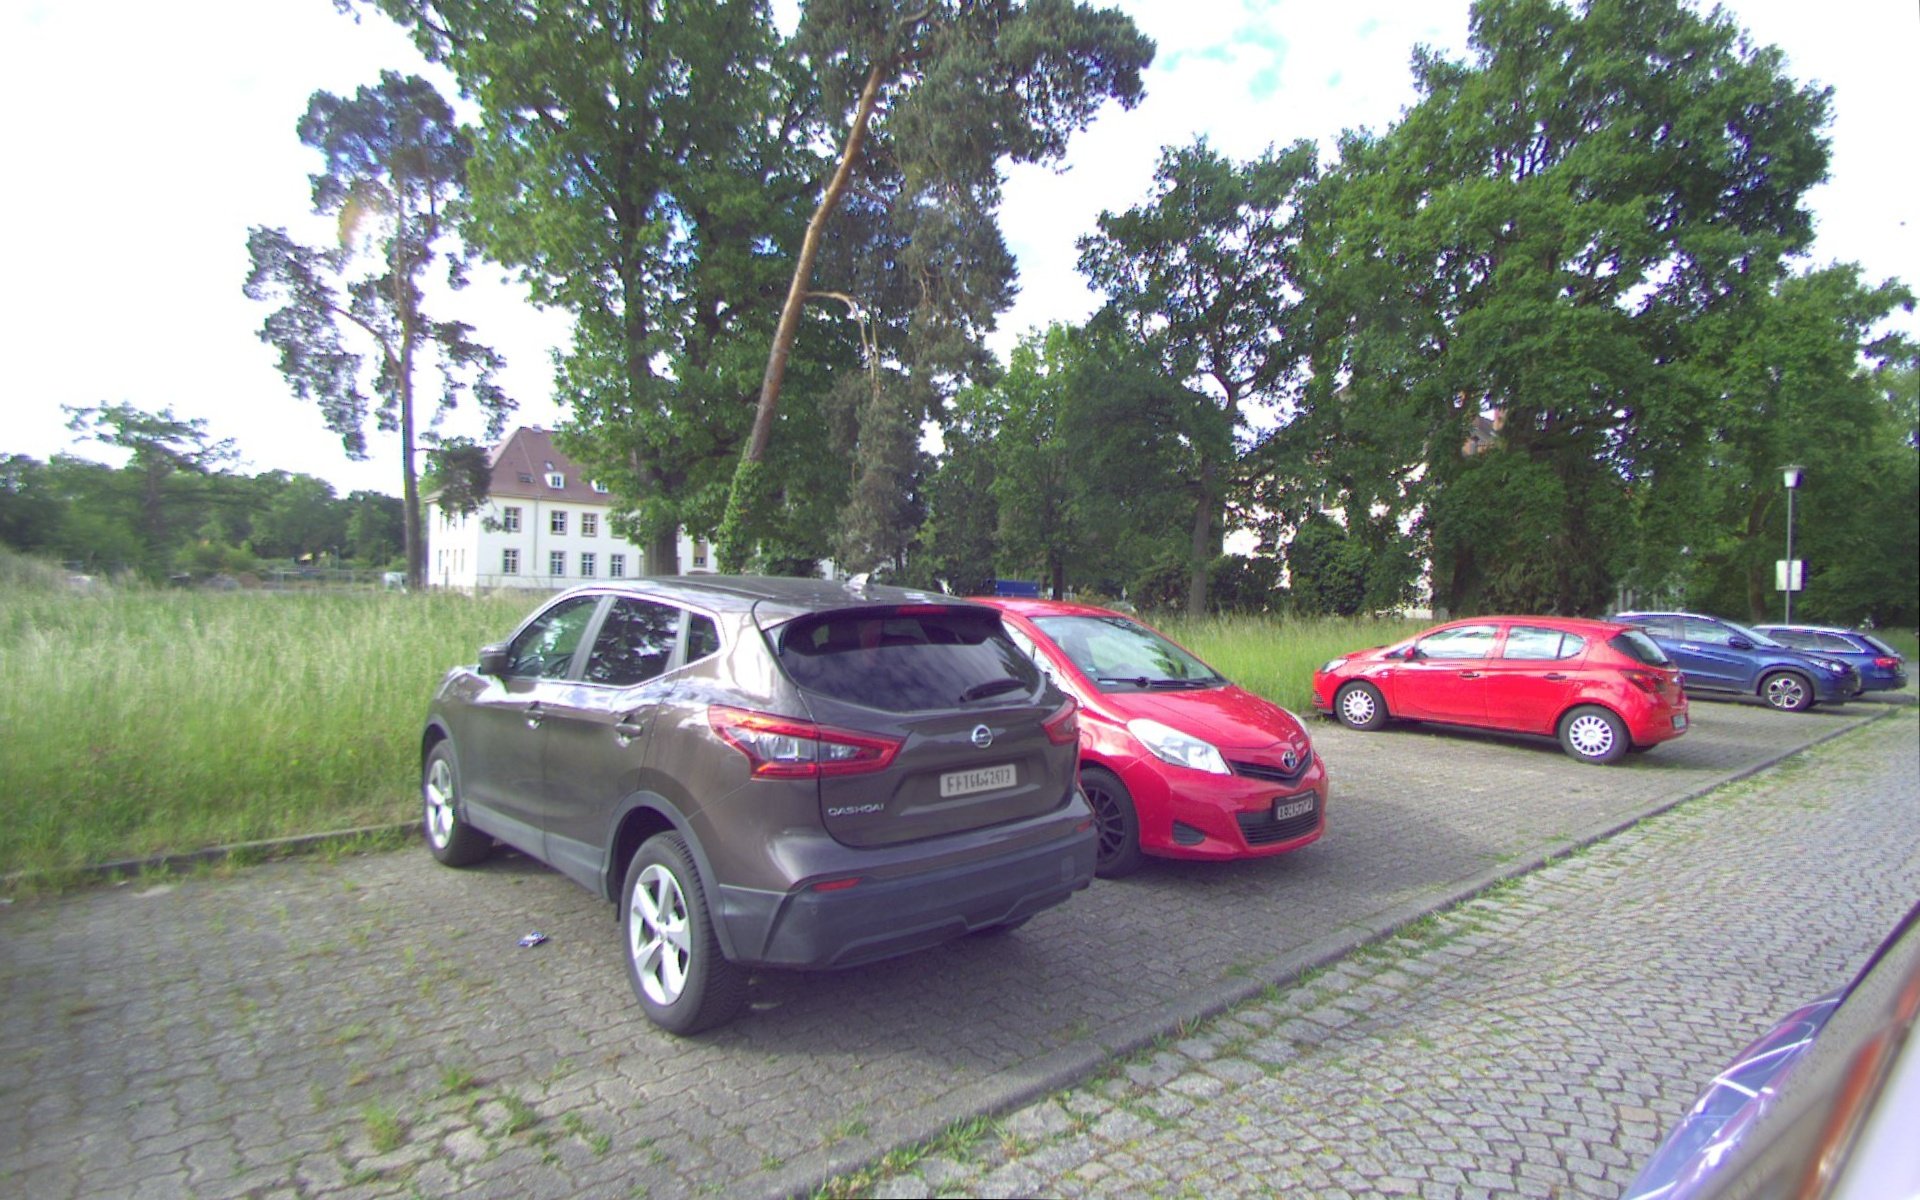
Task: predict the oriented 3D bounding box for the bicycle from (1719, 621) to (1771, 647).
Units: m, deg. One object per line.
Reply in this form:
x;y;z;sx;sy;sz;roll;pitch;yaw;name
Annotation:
36.814;1.603;47.492;1.848;1.101;0.515;2;2;28;bicycle

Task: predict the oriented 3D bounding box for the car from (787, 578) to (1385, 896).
0.600;0.650;7.028;1.708;1.538;3.994;2;0;-41;car

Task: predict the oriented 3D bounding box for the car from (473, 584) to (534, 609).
-37.734;-0.269;83.625;5.811;2.039;2.450;0;0;41;car

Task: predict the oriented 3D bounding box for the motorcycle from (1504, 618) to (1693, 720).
9.328;0.964;14.868;2.265;1.291;0.596;2;1;44;motorcycle

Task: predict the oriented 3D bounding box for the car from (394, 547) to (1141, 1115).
-1.253;0.632;4.913;1.732;1.600;3.955;1;0;-42;car

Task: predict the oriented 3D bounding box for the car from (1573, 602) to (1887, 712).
13.926;0.935;18.505;1.862;1.593;4.271;2;1;-41;car

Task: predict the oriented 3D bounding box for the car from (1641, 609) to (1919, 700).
17.474;1.072;21.567;1.860;1.483;4.518;2;1;-38;car

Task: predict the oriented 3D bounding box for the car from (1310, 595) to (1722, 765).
6.320;0.783;11.823;1.708;1.524;3.845;2;1;-42;car
